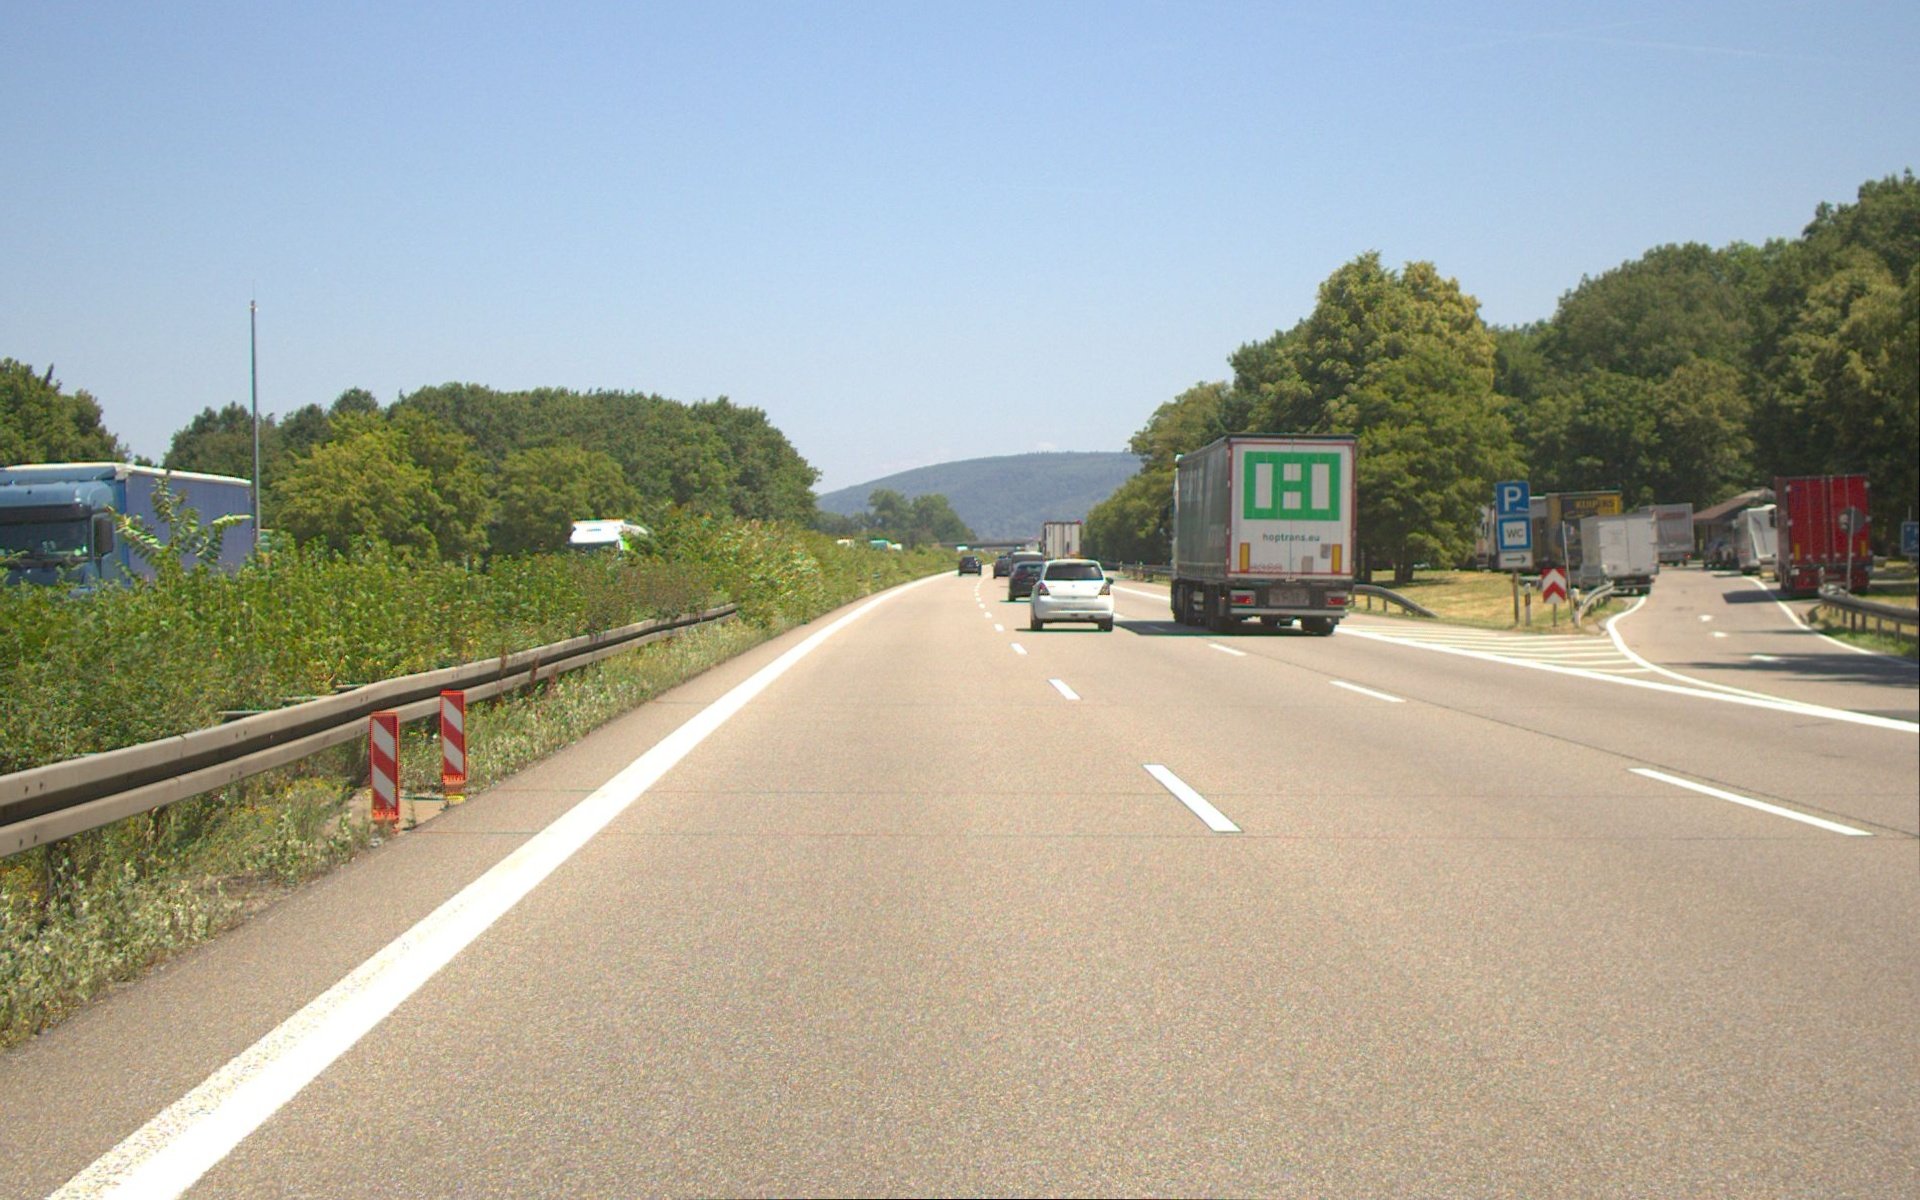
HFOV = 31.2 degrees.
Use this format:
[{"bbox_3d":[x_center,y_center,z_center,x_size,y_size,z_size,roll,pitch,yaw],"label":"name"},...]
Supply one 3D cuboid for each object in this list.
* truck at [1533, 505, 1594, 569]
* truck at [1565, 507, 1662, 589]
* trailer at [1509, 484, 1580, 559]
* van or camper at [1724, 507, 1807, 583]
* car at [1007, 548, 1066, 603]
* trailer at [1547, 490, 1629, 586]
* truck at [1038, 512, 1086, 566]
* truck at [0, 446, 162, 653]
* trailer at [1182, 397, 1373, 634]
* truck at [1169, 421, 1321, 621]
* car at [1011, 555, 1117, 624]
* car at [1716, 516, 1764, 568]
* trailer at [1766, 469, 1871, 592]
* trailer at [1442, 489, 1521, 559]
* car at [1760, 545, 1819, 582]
[{"bbox_3d":[29.736,-3.108,169.608,2.468,3.076,6.615,1,1,6],"label":"truck"},{"bbox_3d":[24.223,-1.922,127.674,2.468,2.936,7.659,0,1,3],"label":"truck"},{"bbox_3d":[30.944,-4.098,182.433,3.103,3.777,13.359,1,1,7],"label":"trailer"},{"bbox_3d":[35.397,-2.409,151.247,3.000,3.224,6.998,-1,1,9],"label":"van or camper"},{"bbox_3d":[2.710,-0.871,121.142,1.897,1.886,4.000,-1,1,3],"label":"car"},{"bbox_3d":[26.517,-2.602,145.504,3.185,3.921,11.546,0,1,9],"label":"trailer"},{"bbox_3d":[7.367,-4.407,249.589,3.325,3.744,12.795,1,1,1],"label":"truck"},{"bbox_3d":[-18.045,-1.006,68.919,2.816,3.957,5.873,-1,1,-1],"label":"truck"},{"bbox_3d":[6.590,-1.738,73.181,3.182,4.611,12.050,0,1,1],"label":"trailer"},{"bbox_3d":[6.715,-1.857,81.813,3.182,4.591,5.947,0,1,1],"label":"truck"},{"bbox_3d":[2.186,-0.235,73.221,1.811,1.400,3.318,-1,1,-6],"label":"car"},{"bbox_3d":[37.640,-2.788,165.968,1.994,2.431,4.778,-1,1,10],"label":"car"},{"bbox_3d":[28.720,-2.292,115.396,2.981,3.865,12.881,-1,1,12],"label":"trailer"},{"bbox_3d":[30.679,-4.432,202.738,3.135,3.939,14.195,-1,1,3],"label":"trailer"},{"bbox_3d":[33.513,-1.496,138.969,1.994,1.446,5.032,-1,1,10],"label":"car"}]
